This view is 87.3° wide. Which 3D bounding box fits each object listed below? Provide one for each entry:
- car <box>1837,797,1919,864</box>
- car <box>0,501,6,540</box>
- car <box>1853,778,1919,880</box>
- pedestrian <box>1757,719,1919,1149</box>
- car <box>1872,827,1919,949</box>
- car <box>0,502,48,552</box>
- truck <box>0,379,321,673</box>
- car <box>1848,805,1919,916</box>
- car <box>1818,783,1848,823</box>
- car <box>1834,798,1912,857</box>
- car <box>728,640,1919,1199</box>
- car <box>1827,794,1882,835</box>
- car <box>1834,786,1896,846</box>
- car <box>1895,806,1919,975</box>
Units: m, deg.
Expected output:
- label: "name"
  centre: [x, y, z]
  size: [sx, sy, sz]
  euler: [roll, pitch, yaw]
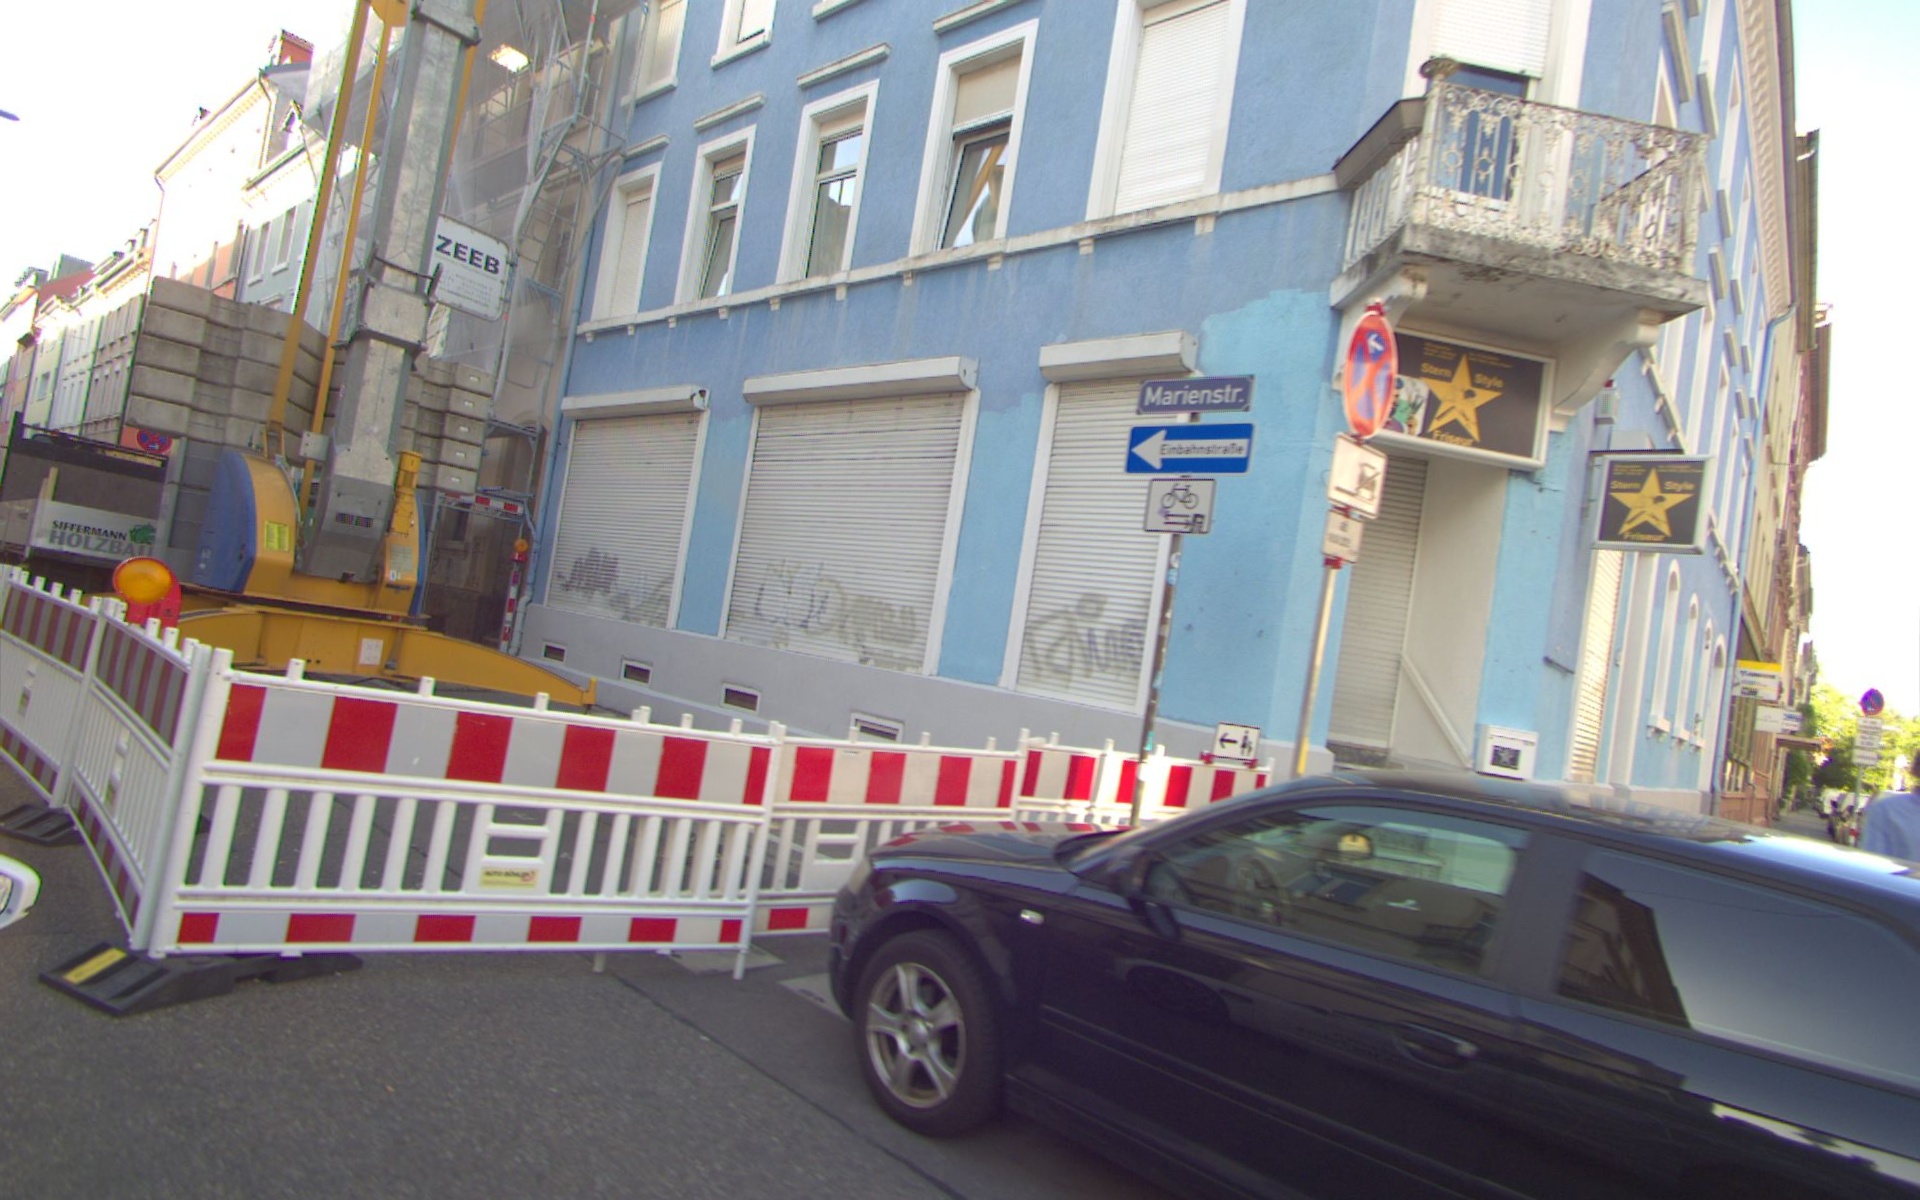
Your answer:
- label: "car"
  centre: [26.493, 6.606, 29.035]
  size: [1.729, 1.527, 3.904]
  euler: [2, -7, 41]
- label: "car"
  centre: [-40.096, -3.381, 40.639]
  size: [3.945, 1.539, 1.815]
  euler: [5, -2, 41]
- label: "car"
  centre: [22.020, 5.343, 23.261]
  size: [1.811, 1.967, 4.537]
  euler: [7, -4, 43]
- label: "pedestrian"
  centre: [4.620, 1.573, 4.856]
  size: [0.765, 1.868, 0.773]
  euler: [8, -3, 7]
- label: "car"
  centre: [12.608, 3.651, 12.468]
  size: [1.733, 1.240, 4.152]
  euler: [6, -5, 41]
- label: "car"
  centre: [-32.244, -2.546, 33.754]
  size: [4.724, 1.455, 1.815]
  euler: [5, -2, 42]
- label: "truck"
  centre: [-11.783, -0.960, 14.007]
  size: [7.292, 2.842, 2.662]
  euler: [5, -5, 42]
- label: "car"
  centre: [15.873, 4.305, 16.436]
  size: [1.731, 1.492, 3.971]
  euler: [9, -3, 40]
- label: "car"
  centre: [72.002, 16.733, 83.011]
  size: [1.729, 2.944, 4.180]
  euler: [2, -7, 41]
- label: "car"
  centre: [29.345, 7.291, 32.430]
  size: [1.729, 1.527, 3.904]
  euler: [2, -7, 41]
- label: "car"
  centre: [1.285, 1.158, 3.171]
  size: [3.977, 1.449, 1.772]
  euler: [6, -5, 41]
- label: "car"
  centre: [40.511, 9.714, 45.616]
  size: [1.729, 1.527, 3.904]
  euler: [2, -7, 41]
- label: "car"
  centre: [36.700, 8.735, 40.853]
  size: [1.729, 2.073, 3.904]
  euler: [2, -7, 41]
- label: "car"
  centre: [9.326, 2.668, 8.470]
  size: [1.731, 1.449, 4.472]
  euler: [9, -3, 40]
